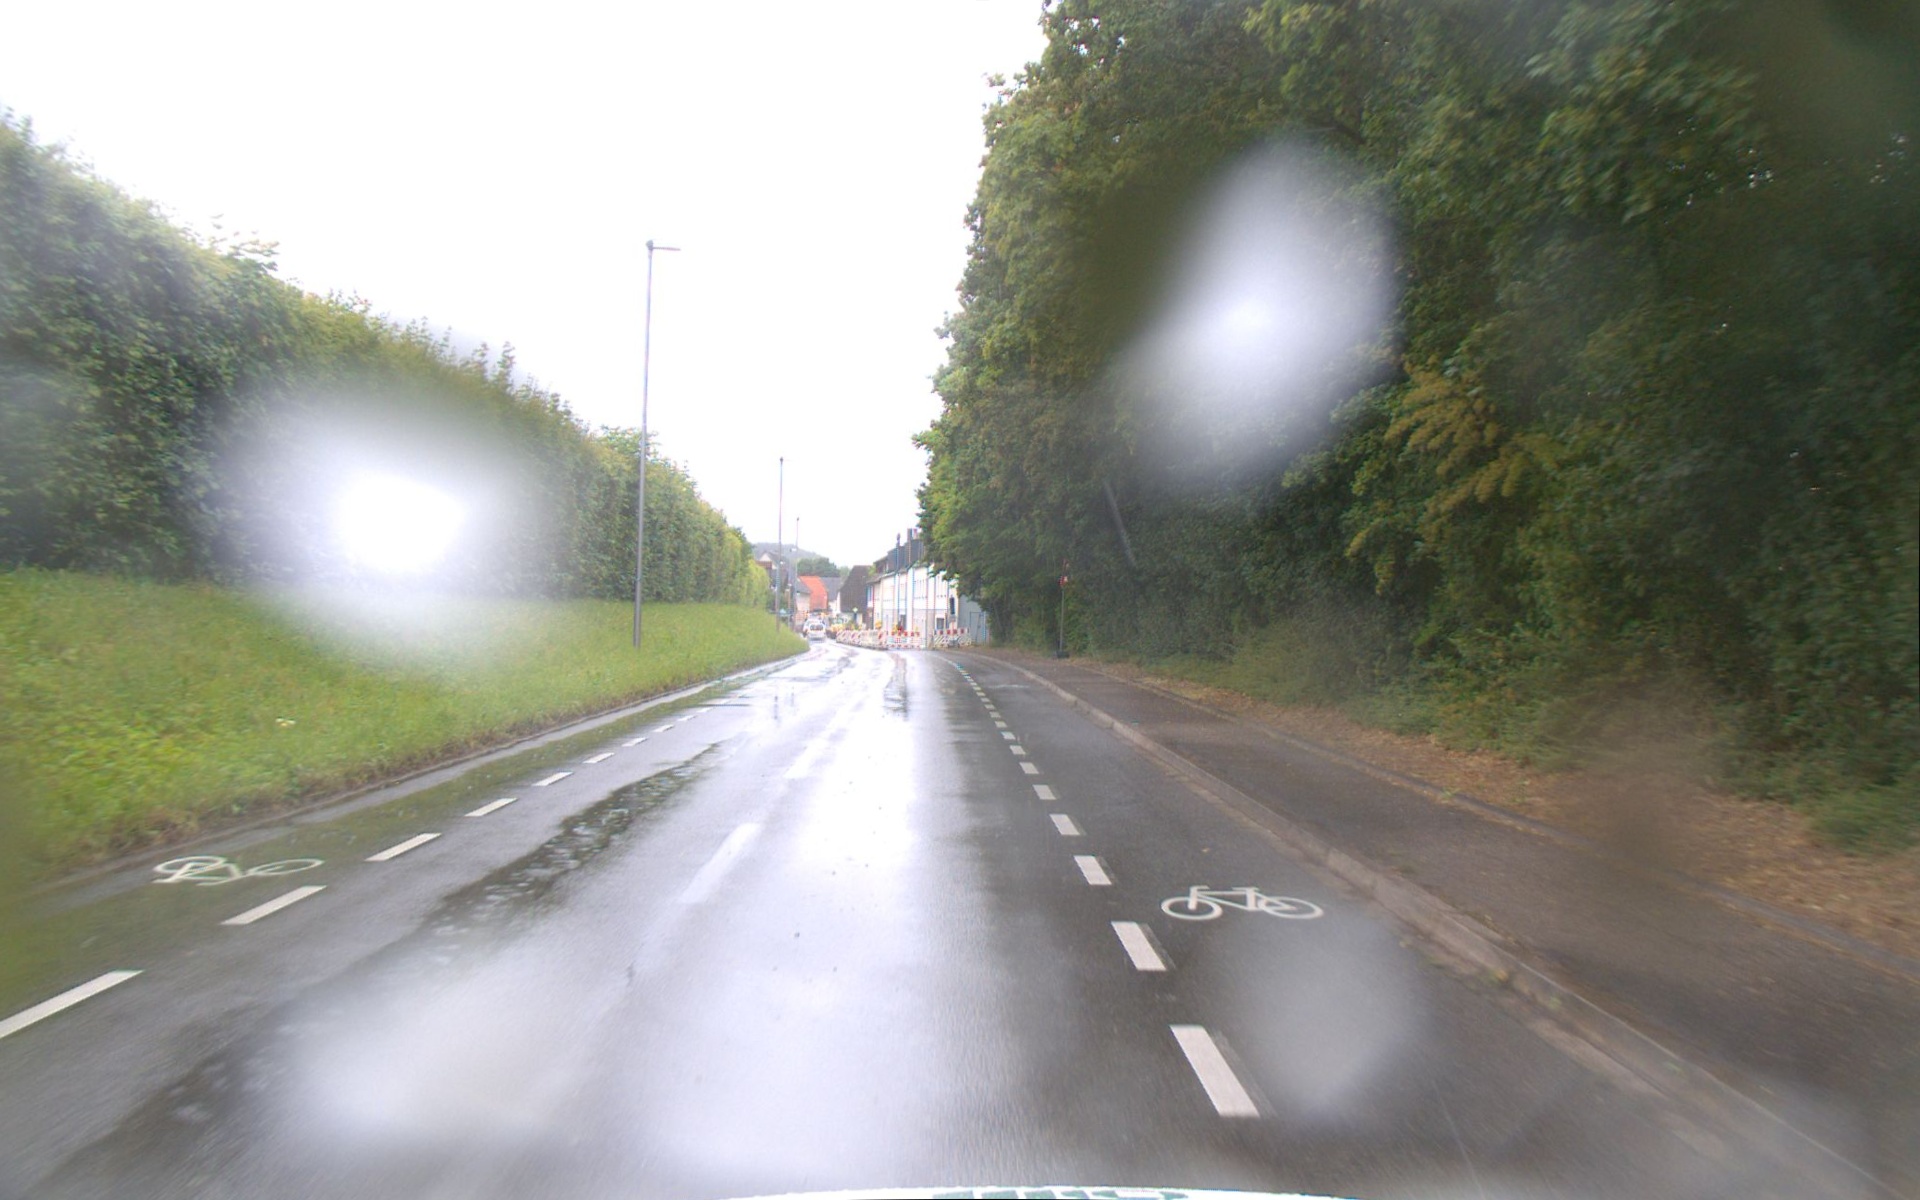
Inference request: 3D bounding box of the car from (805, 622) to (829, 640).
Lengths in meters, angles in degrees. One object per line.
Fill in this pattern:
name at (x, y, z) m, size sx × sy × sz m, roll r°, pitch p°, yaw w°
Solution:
car at (-13.852, 3.011, 160.092) m, size 1.957 × 1.639 × 3.990 m, roll 1°, pitch 0°, yaw -10°
